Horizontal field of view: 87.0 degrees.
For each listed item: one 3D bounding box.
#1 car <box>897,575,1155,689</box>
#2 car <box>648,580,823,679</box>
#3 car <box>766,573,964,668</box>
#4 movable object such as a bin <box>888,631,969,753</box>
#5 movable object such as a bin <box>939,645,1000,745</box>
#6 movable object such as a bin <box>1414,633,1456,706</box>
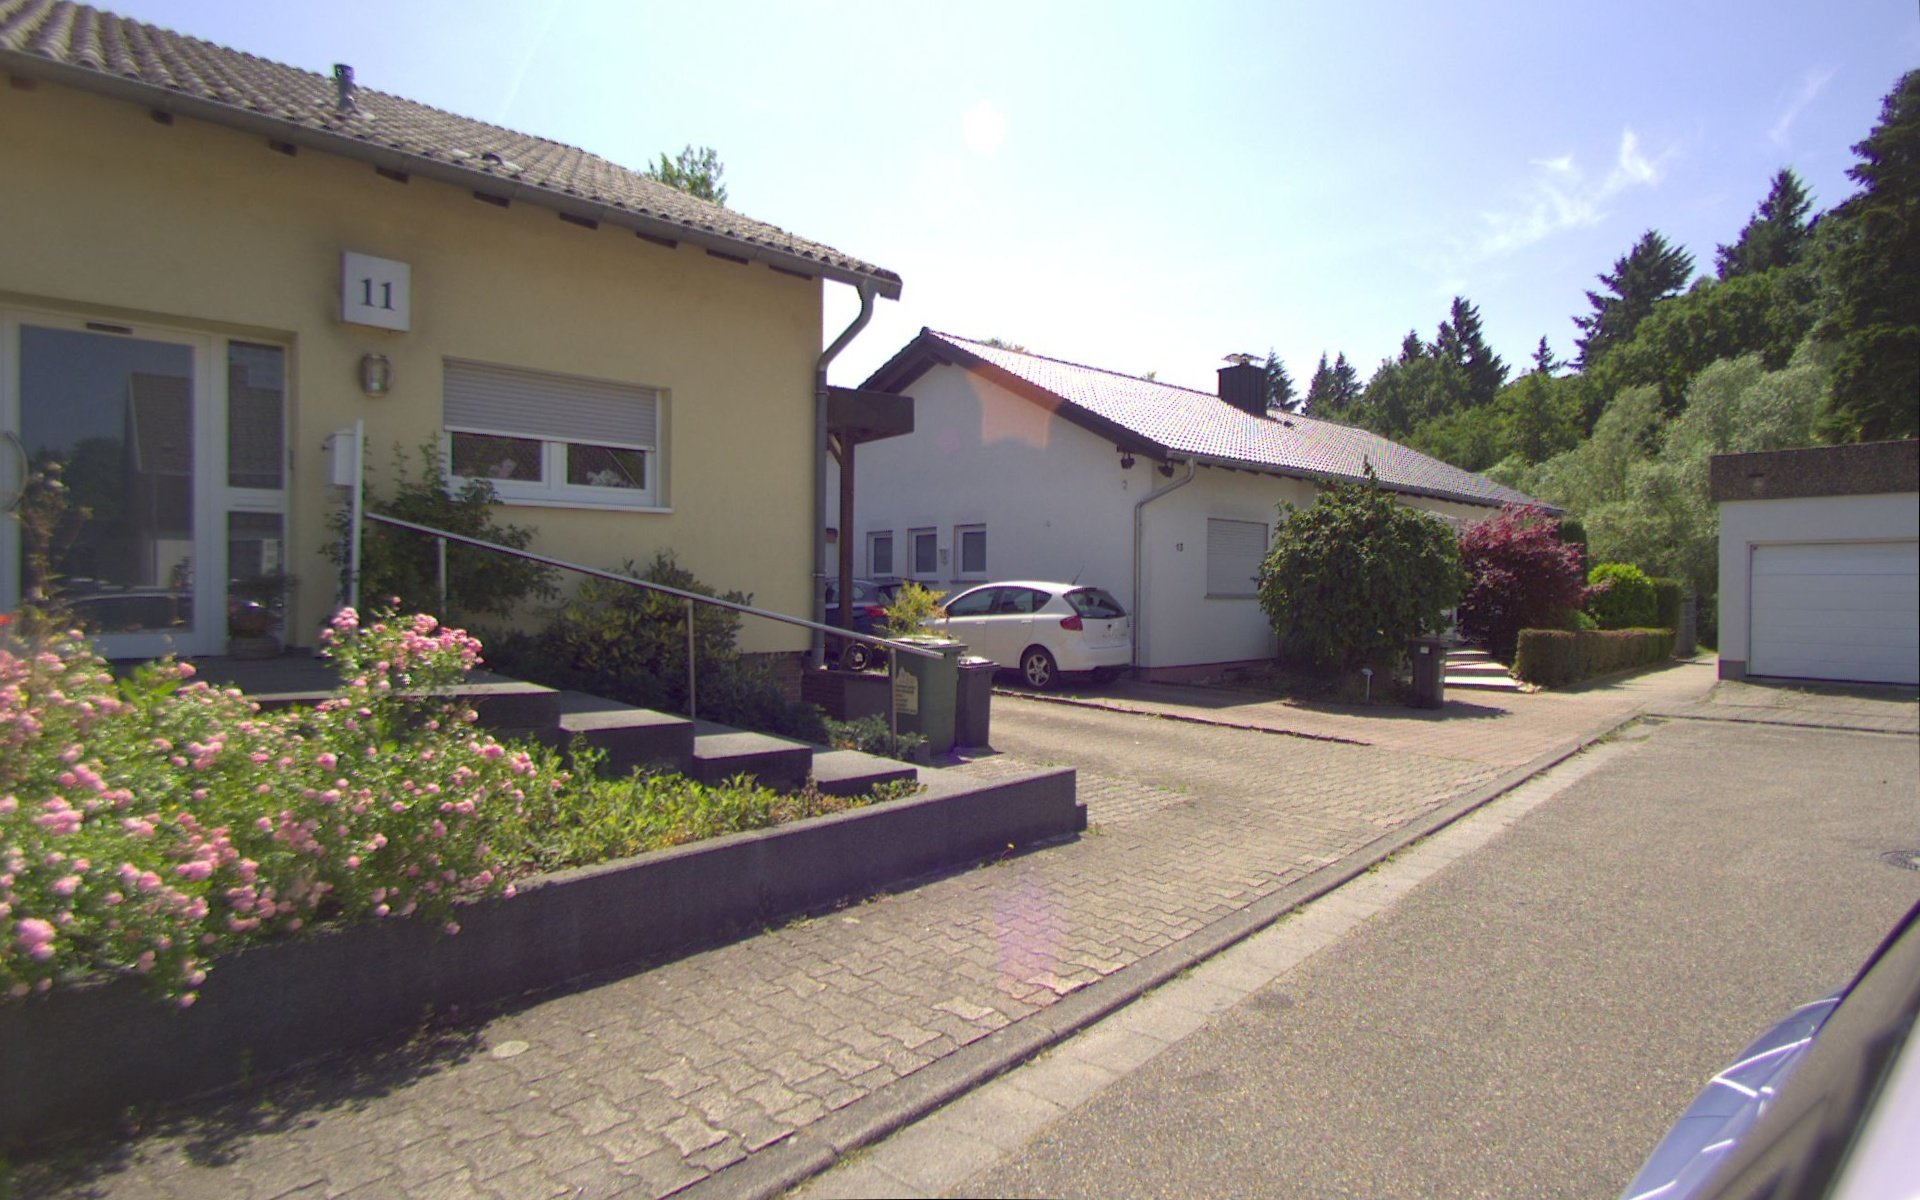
[{"bbox_3d":[0.936,0.404,16.068,1.723,1.588,3.990,0,1,-44],"label":"car"},{"bbox_3d":[-3.922,0.431,17.389,1.591,1.473,3.249,0,2,-41],"label":"car"},{"bbox_3d":[-1.930,0.294,19.600,1.895,1.627,3.995,-1,2,-40],"label":"car"},{"bbox_3d":[-0.293,0.839,9.444,0.490,1.054,0.584,0,1,41],"label":"movable object such as a bin"},{"bbox_3d":[0.093,0.901,9.790,0.425,0.902,0.401,0,1,42],"label":"movable object such as a bin"},{"bbox_3d":[6.181,0.899,13.172,0.369,0.902,0.390,-1,1,-42],"label":"movable object such as a bin"}]
